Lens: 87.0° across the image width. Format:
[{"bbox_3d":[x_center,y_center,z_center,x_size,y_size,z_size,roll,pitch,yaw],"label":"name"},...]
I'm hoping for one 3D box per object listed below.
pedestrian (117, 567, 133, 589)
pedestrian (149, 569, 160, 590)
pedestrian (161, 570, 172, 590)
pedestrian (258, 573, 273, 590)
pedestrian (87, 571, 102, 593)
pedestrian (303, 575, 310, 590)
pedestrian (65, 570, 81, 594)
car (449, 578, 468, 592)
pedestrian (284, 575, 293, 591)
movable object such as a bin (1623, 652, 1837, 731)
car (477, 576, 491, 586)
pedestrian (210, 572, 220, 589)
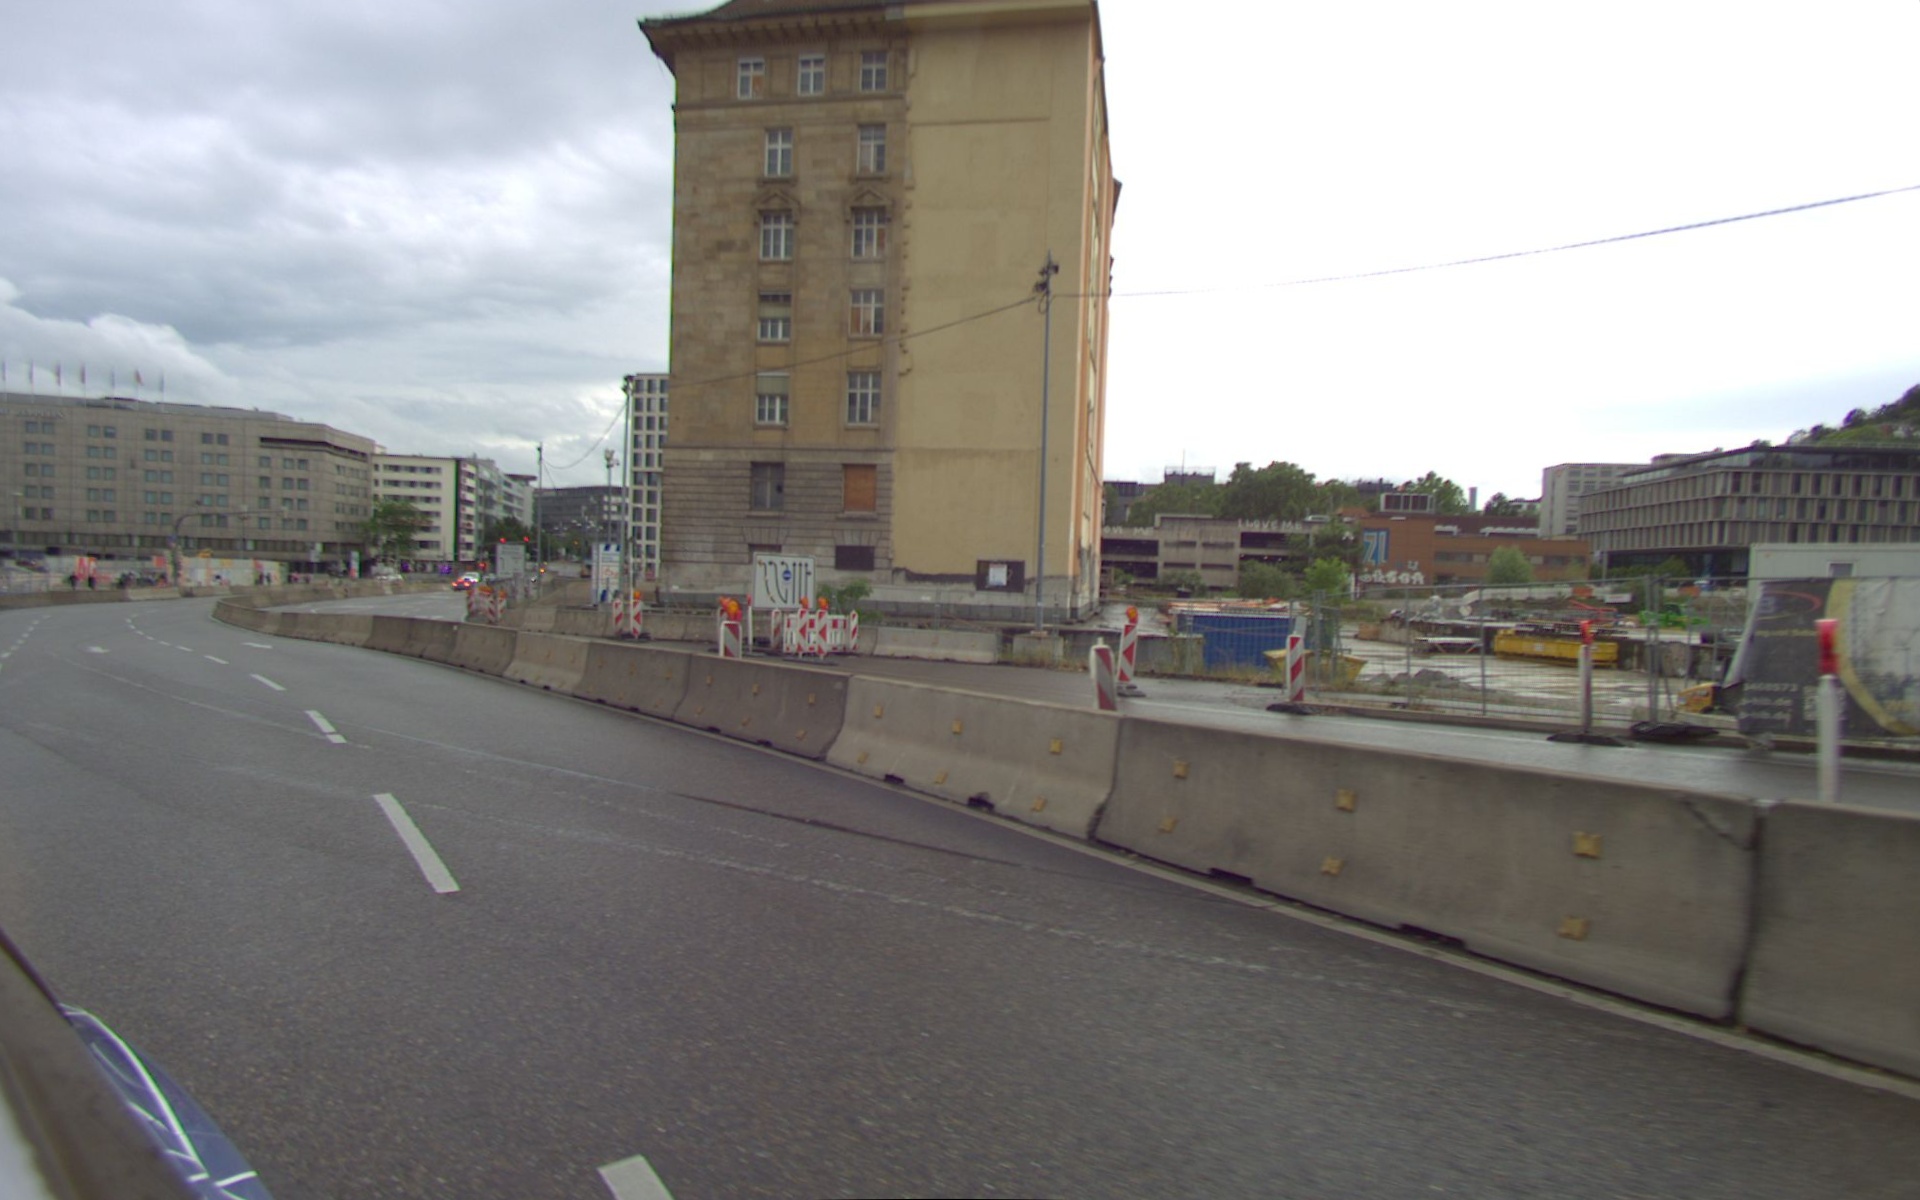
[{"bbox_3d":[-66.520,-1.742,80.613,0.644,1.703,0.778,3,0,-18],"label":"pedestrian"},{"bbox_3d":[-69.473,-1.784,87.294,0.576,1.721,0.679,3,0,-30],"label":"pedestrian"},{"bbox_3d":[-70.601,-1.780,90.078,0.638,1.774,0.585,3,0,-30],"label":"pedestrian"},{"bbox_3d":[-78.959,-2.108,115.078,1.081,1.774,0.909,3,0,-15],"label":"pedestrian"},{"bbox_3d":[-65.742,-1.355,76.858,0.638,1.658,0.950,3,0,-28],"label":"pedestrian"},{"bbox_3d":[-80.995,-2.158,125.375,0.643,1.774,0.550,3,0,-30],"label":"pedestrian"},{"bbox_3d":[-66.748,-1.387,76.153,0.638,1.756,0.768,3,0,-28],"label":"pedestrian"},{"bbox_3d":[-60.017,-1.831,121.166,1.741,1.532,4.402,1,1,-22],"label":"car"},{"bbox_3d":[-78.459,-1.992,118.206,0.744,1.774,0.768,3,0,-30],"label":"pedestrian"},{"bbox_3d":[21.561,2.496,28.535,1.707,1.689,4.460,1,1,-33],"label":"movable object such as a bin"},{"bbox_3d":[-91.231,-3.664,193.981,1.965,1.838,4.013,1,1,-20],"label":"car"},{"bbox_3d":[-74.177,-1.972,100.796,0.638,1.682,0.768,3,0,-30],"label":"pedestrian"}]
